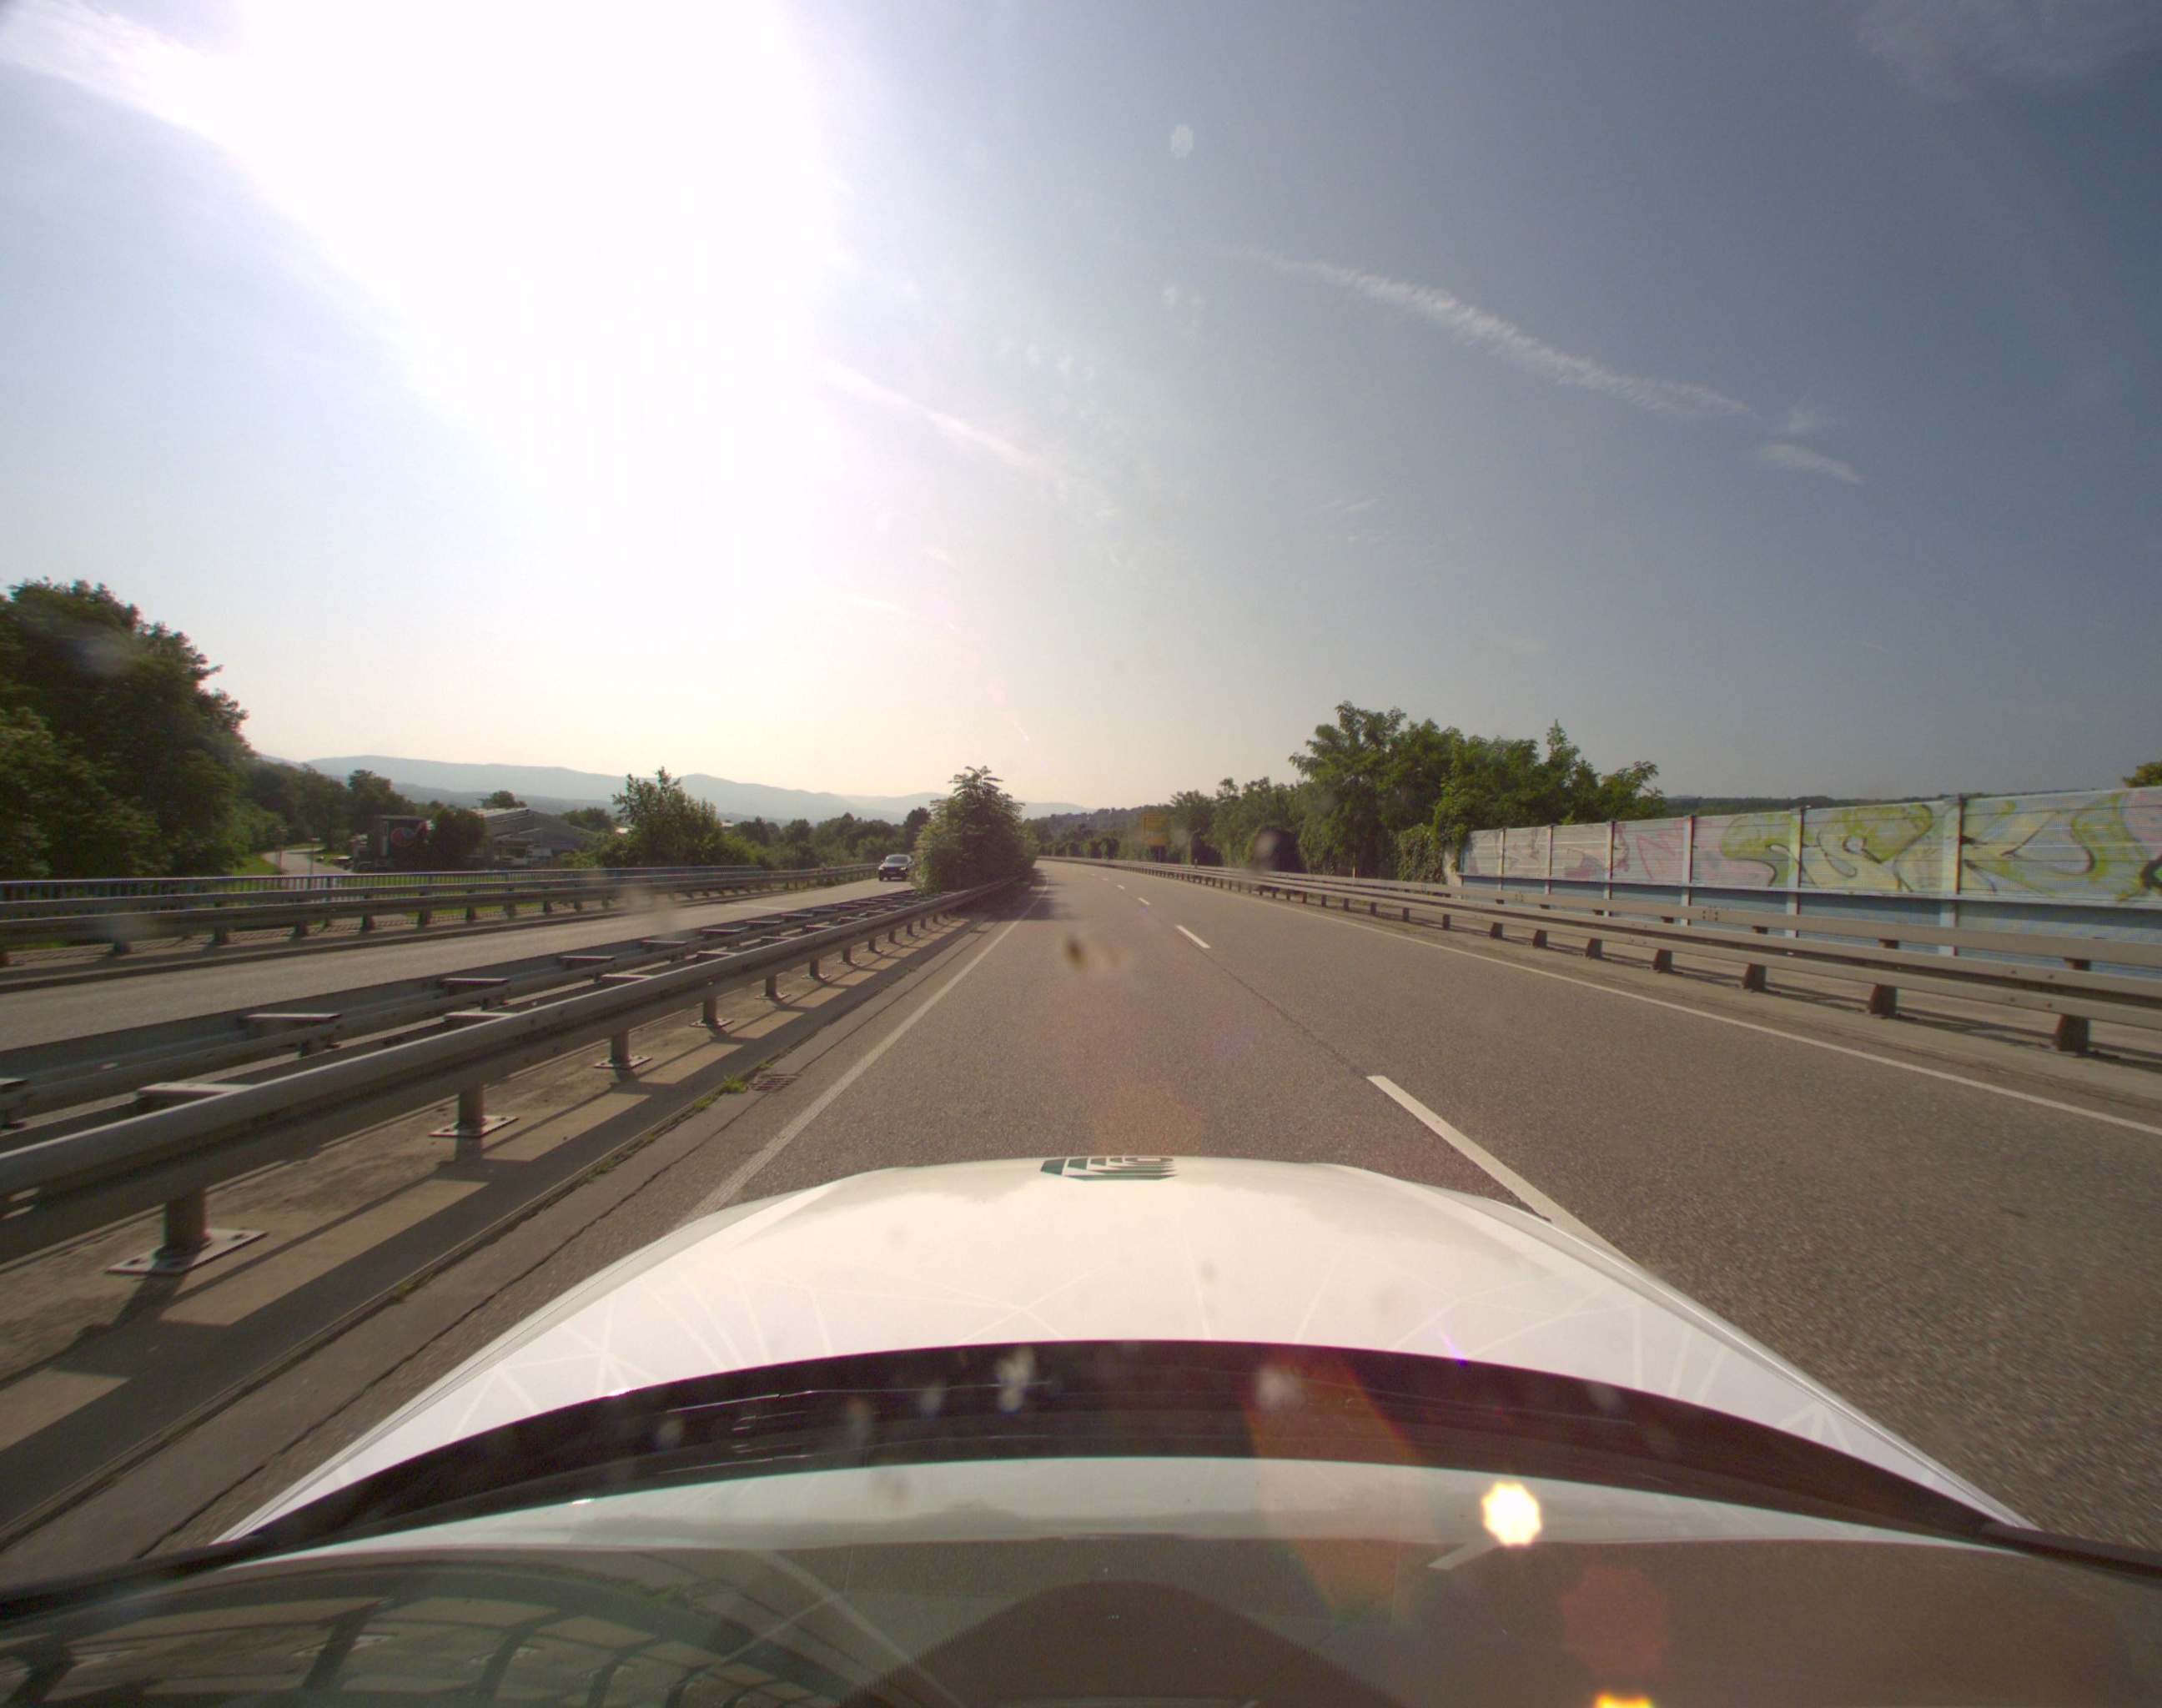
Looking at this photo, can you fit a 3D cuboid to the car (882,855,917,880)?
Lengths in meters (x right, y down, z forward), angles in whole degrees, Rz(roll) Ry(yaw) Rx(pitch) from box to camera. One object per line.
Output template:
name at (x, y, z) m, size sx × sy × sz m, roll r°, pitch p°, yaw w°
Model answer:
car at (-11.927, 0.834, 53.654) m, size 1.663 × 1.564 × 3.486 m, roll -1°, pitch 0°, yaw -3°
